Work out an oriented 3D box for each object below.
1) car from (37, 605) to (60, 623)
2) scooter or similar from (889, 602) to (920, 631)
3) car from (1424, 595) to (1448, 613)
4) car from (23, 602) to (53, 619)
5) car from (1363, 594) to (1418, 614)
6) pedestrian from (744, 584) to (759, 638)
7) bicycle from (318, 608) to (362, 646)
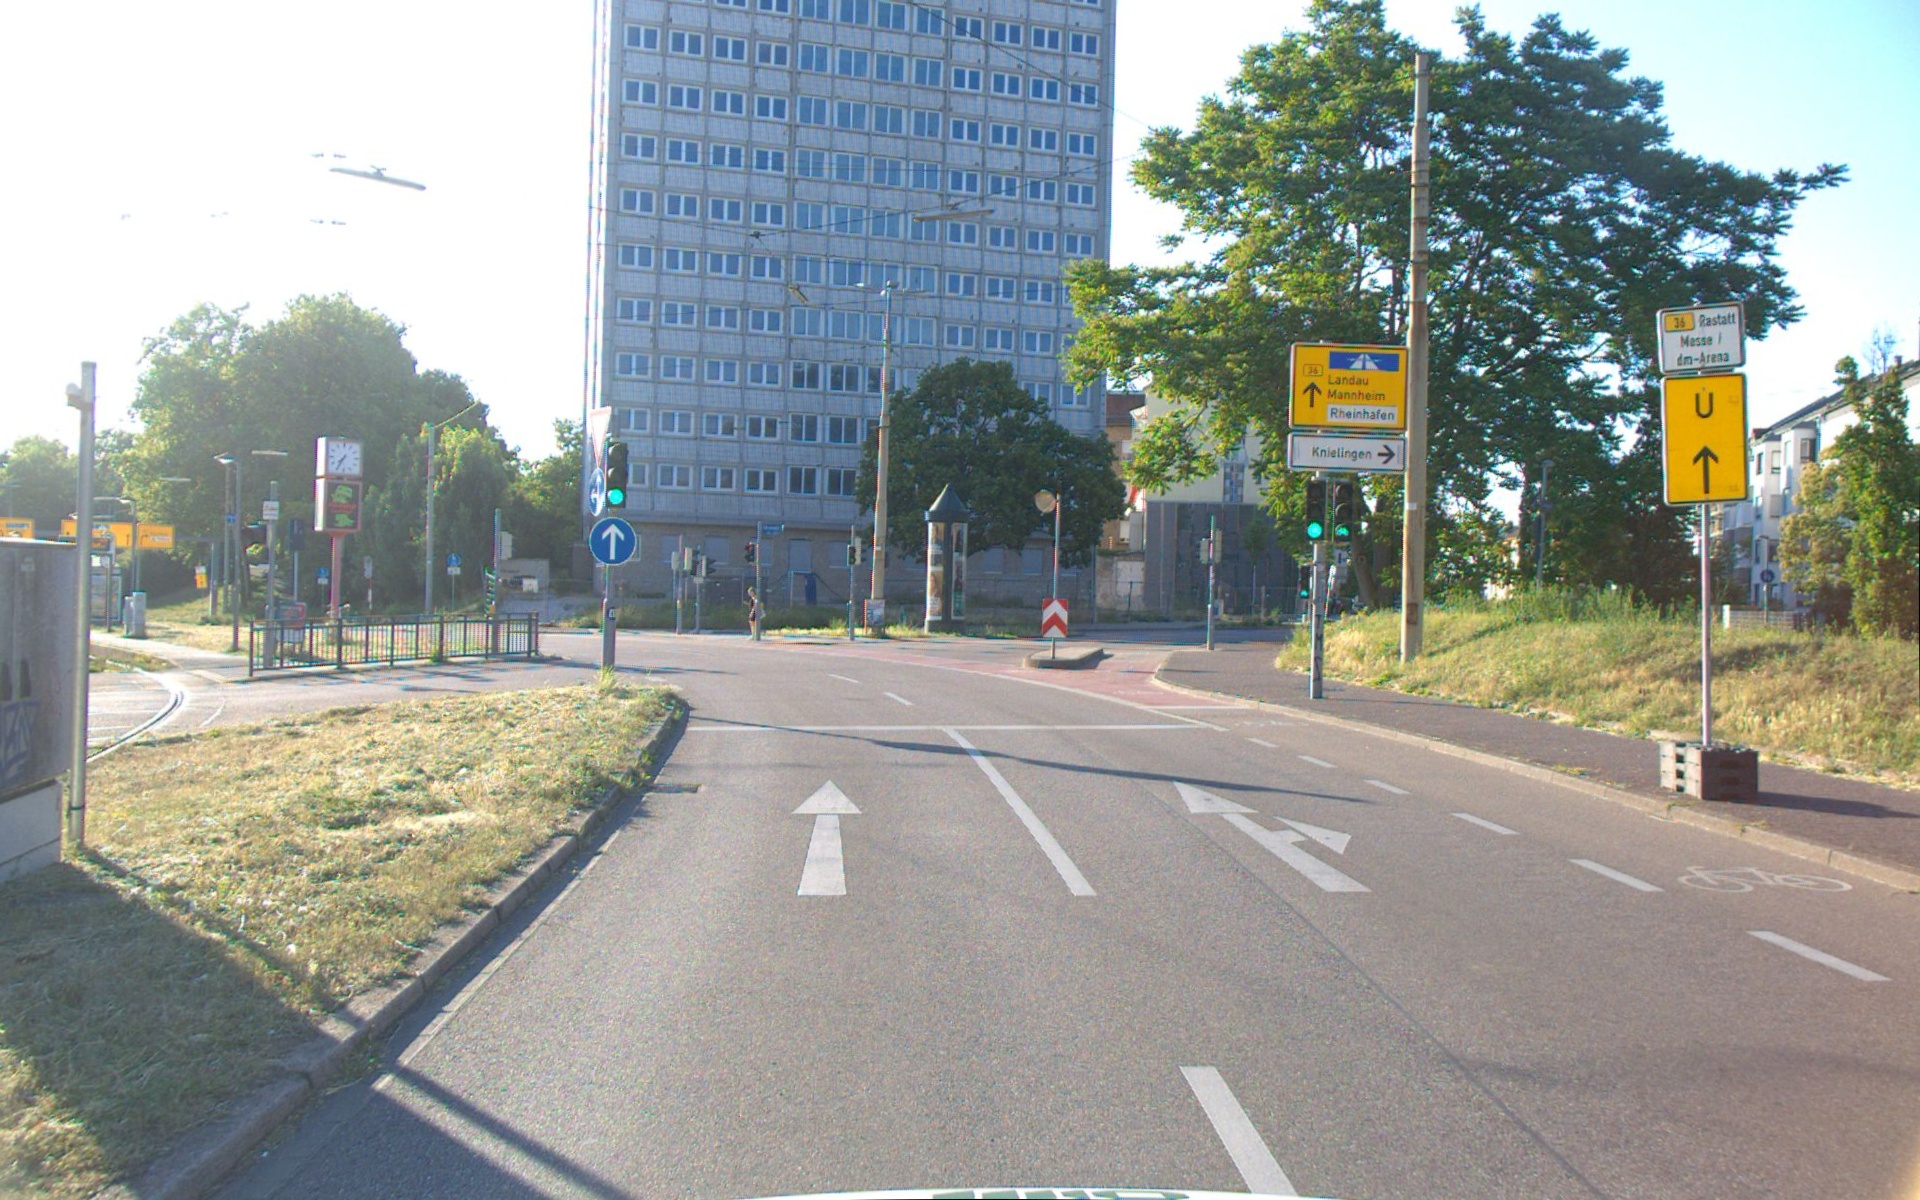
[{"bbox_3d":[-78.447,1.201,142.315,1.501,1.412,3.325,1,1,-33],"label":"car"},{"bbox_3d":[-2.304,0.675,68.778,1.275,1.190,0.325,0,0,-15],"label":"scooter or similar"},{"bbox_3d":[40.915,0.368,142.226,1.834,1.484,3.789,0,1,19],"label":"car"},{"bbox_3d":[-83.302,0.930,149.355,2.021,1.471,3.951,0,1,-35],"label":"car"},{"bbox_3d":[29.975,0.289,115.196,3.622,1.324,1.512,1,0,15],"label":"car"},{"bbox_3d":[-6.400,0.349,50.680,0.427,1.640,0.629,0,0,-5],"label":"pedestrian"},{"bbox_3d":[-16.445,0.706,43.879,0.542,0.934,1.742,-1,0,-2],"label":"bicycle"}]
